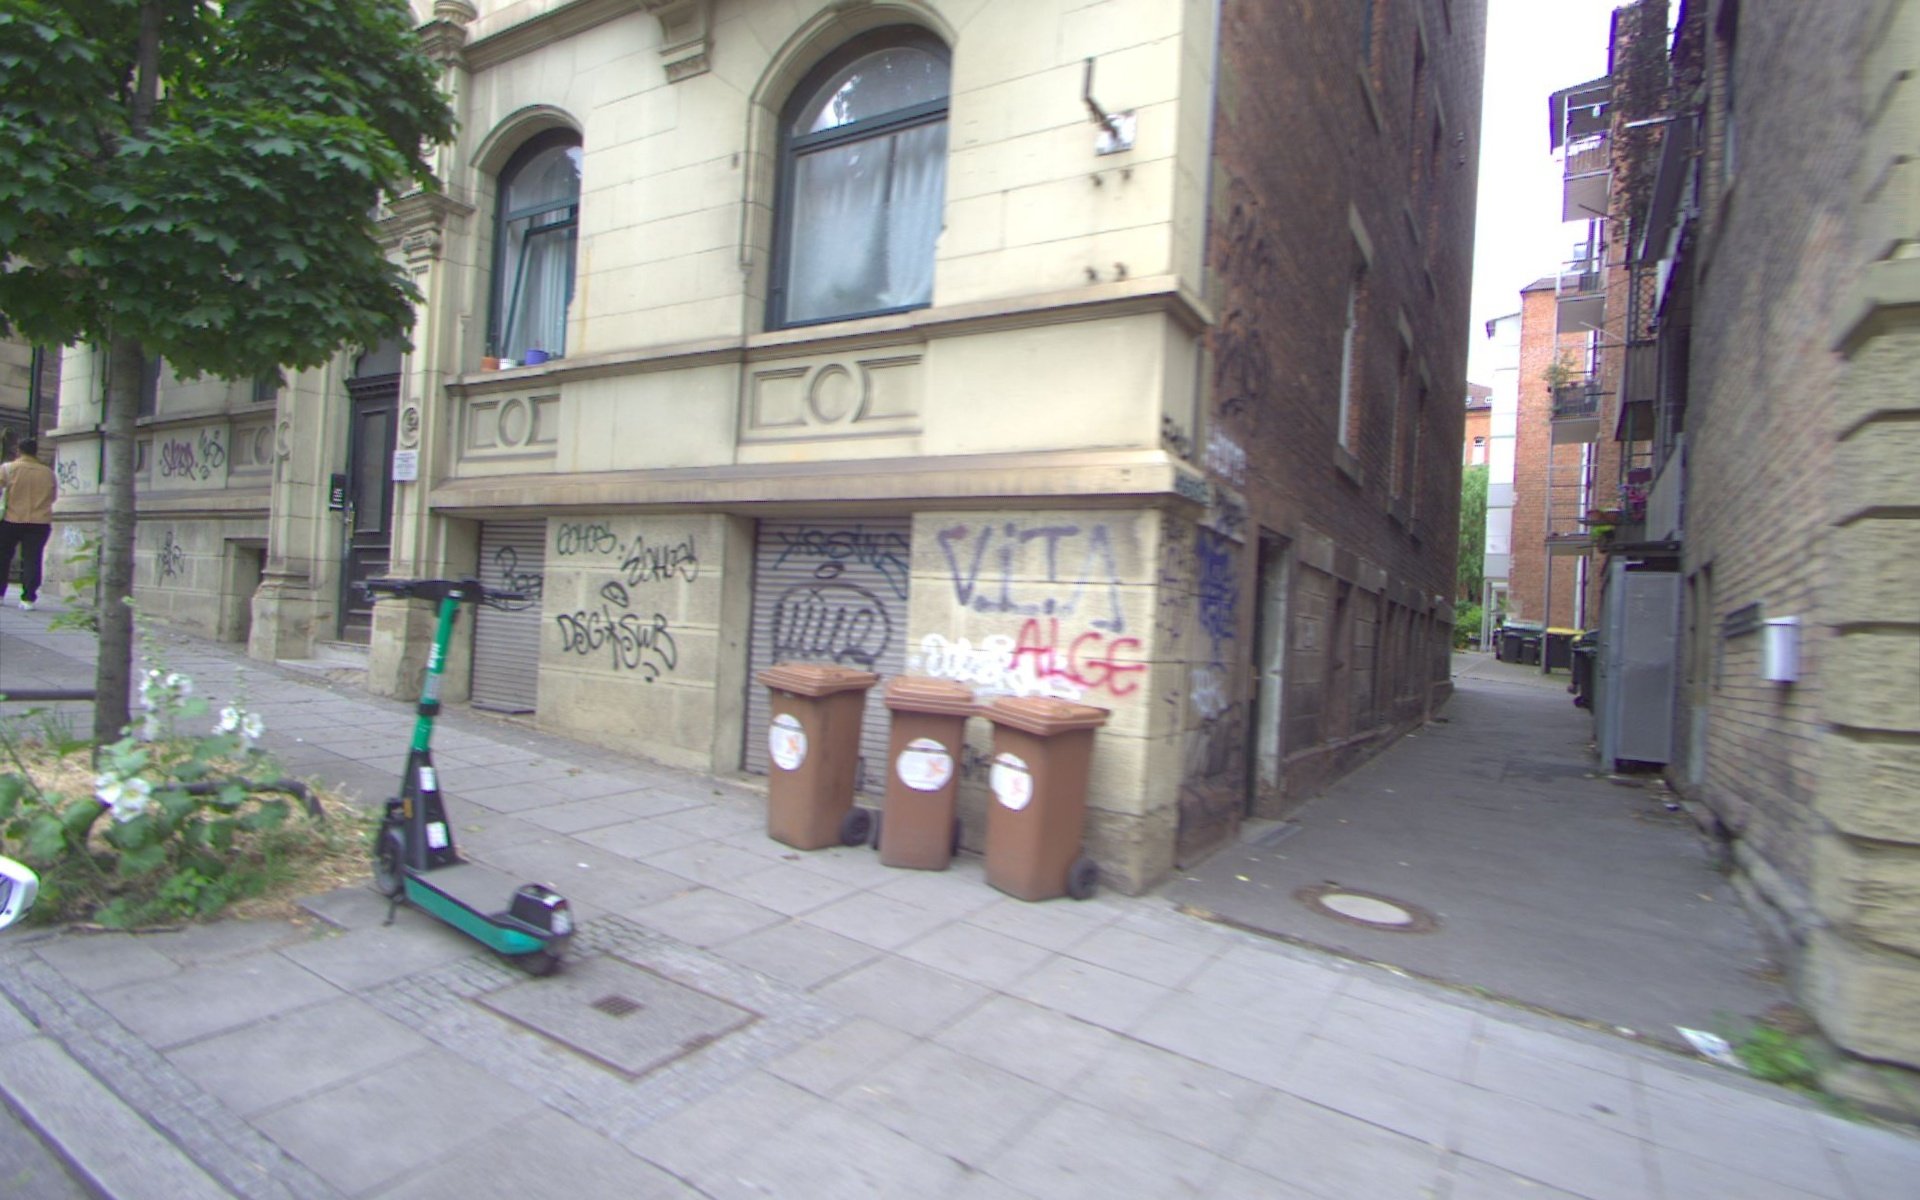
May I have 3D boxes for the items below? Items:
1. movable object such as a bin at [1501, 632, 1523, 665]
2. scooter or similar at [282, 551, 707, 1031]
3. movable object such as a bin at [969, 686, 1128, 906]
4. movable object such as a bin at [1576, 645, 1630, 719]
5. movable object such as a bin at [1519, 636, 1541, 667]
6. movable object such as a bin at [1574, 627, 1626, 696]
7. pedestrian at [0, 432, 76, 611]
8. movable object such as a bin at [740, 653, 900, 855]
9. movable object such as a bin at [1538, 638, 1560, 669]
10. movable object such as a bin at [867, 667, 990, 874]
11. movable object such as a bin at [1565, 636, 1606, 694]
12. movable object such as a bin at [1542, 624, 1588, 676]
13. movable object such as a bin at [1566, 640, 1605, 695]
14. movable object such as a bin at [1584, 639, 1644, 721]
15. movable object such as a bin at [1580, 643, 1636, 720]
[{"bbox_3d":[19.143,1.679,34.883,0.522,1.077,0.653,7,0,31],"label":"movable object such as a bin"},{"bbox_3d":[-1.668,0.552,3.558,1.361,1.321,0.662,6,3,32],"label":"scooter or similar"},{"bbox_3d":[0.422,0.916,4.841,0.497,0.931,0.439,5,2,-39],"label":"movable object such as a bin"},{"bbox_3d":[11.036,1.404,17.289,0.643,1.182,0.530,7,1,32],"label":"movable object such as a bin"},{"bbox_3d":[19.600,1.767,34.590,0.522,1.006,0.653,7,0,31],"label":"movable object such as a bin"},{"bbox_3d":[13.611,1.308,21.413,0.773,1.355,0.571,7,1,32],"label":"movable object such as a bin"},{"bbox_3d":[-10.397,-0.864,11.050,1.103,1.854,0.686,6,2,32],"label":"pedestrian"},{"bbox_3d":[-0.728,0.773,5.292,0.485,0.932,0.611,7,3,34],"label":"movable object such as a bin"},{"bbox_3d":[20.076,1.823,34.276,0.522,1.006,0.653,7,0,31],"label":"movable object such as a bin"},{"bbox_3d":[-0.175,0.844,5.092,0.484,0.932,0.500,5,3,-10],"label":"movable object such as a bin"},{"bbox_3d":[13.935,1.456,22.413,0.643,1.205,0.530,7,1,32],"label":"movable object such as a bin"},{"bbox_3d":[17.679,1.458,29.397,1.008,1.393,0.652,7,1,33],"label":"movable object such as a bin"},{"bbox_3d":[14.412,1.554,23.200,0.643,1.182,0.530,7,1,32],"label":"movable object such as a bin"},{"bbox_3d":[10.127,1.233,15.594,0.643,1.182,0.530,7,1,32],"label":"movable object such as a bin"},{"bbox_3d":[10.713,1.342,16.649,0.643,1.182,0.530,7,1,32],"label":"movable object such as a bin"}]
